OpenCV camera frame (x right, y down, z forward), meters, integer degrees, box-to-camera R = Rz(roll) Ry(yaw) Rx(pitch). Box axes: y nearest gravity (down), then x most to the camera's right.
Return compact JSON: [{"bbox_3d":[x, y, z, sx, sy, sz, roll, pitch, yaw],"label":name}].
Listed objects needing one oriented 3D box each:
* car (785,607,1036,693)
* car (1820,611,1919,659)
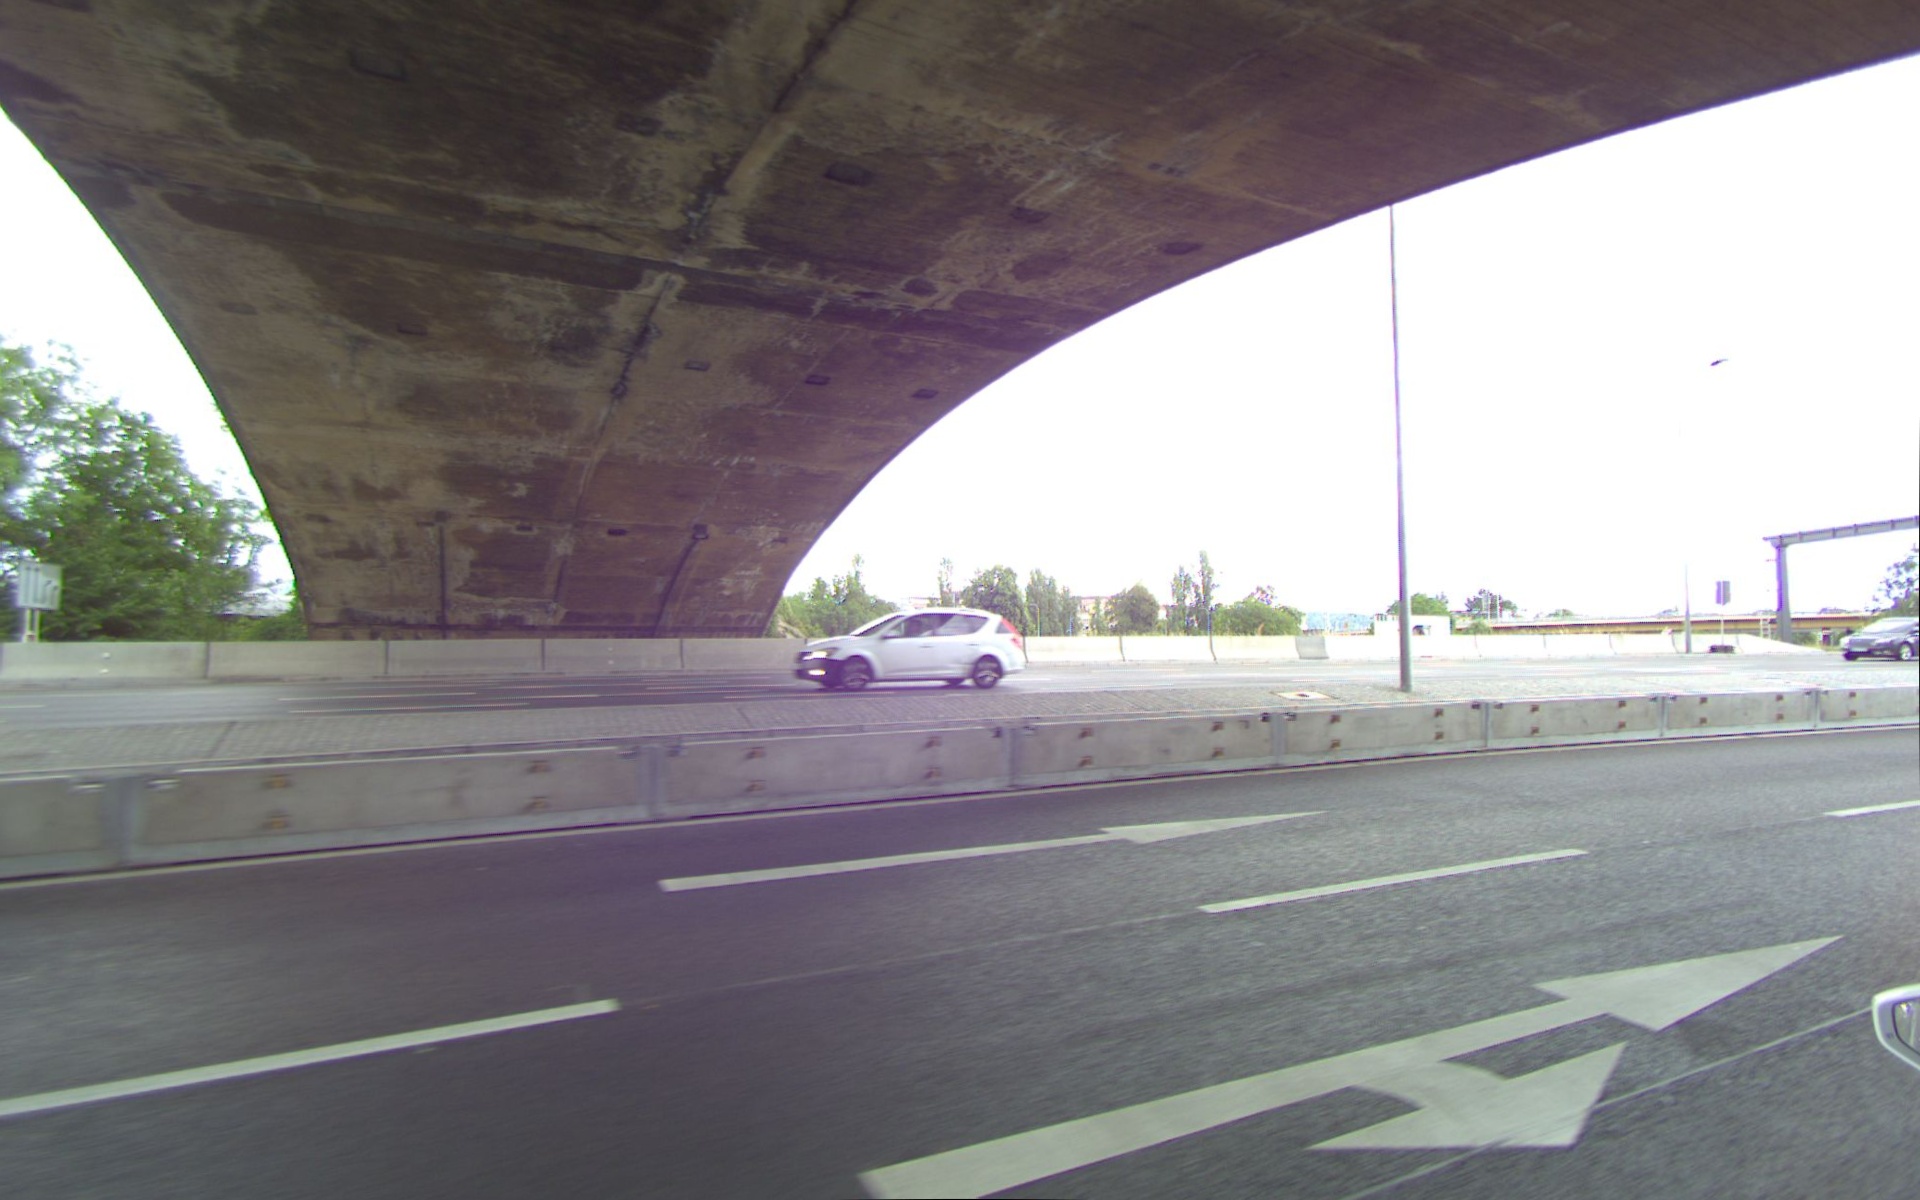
[{"bbox_3d":[-0.945,0.905,19.337,4.479,1.506,1.851,0,-2,-24],"label":"car"},{"bbox_3d":[32.733,1.216,35.304,4.077,1.602,1.737,0,-2,-13],"label":"car"}]
